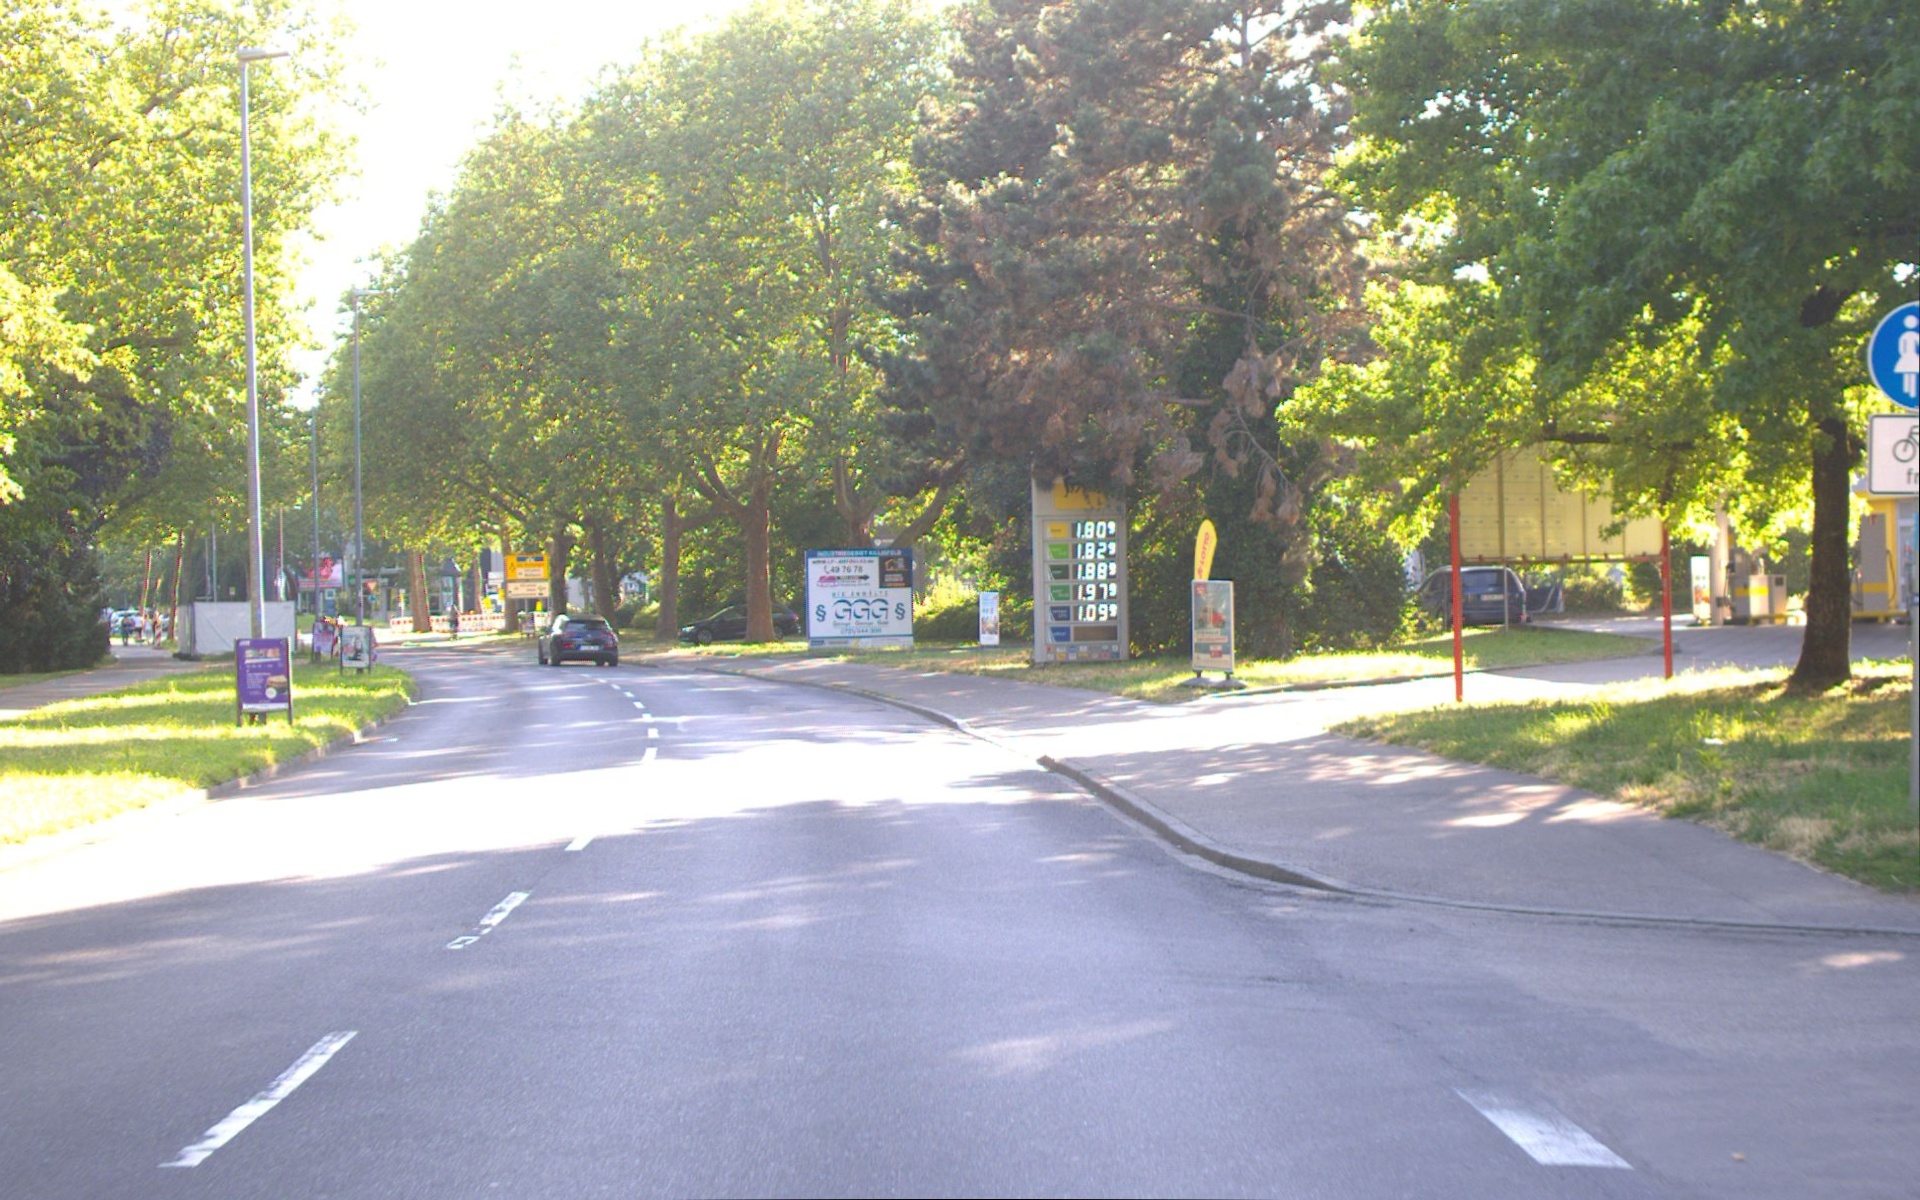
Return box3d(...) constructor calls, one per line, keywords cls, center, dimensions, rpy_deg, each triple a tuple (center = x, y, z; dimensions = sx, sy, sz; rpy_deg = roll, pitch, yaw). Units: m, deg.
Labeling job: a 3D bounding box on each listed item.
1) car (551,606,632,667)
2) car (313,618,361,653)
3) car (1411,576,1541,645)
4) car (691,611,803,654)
box3d(cls="car", center=(-10.123, 0.991, 94.617), dimensions=(1.839, 1.600, 3.863), rpy_deg=(-1, 0, -1))
box3d(cls="car", center=(-37.889, 2.158, 209.201), dimensions=(1.993, 2.007, 4.000), rpy_deg=(-1, 0, 2))
box3d(cls="car", center=(11.088, 0.218, 74.089), dimensions=(1.841, 1.415, 4.001), rpy_deg=(-1, 0, -5))
box3d(cls="car", center=(-8.063, 1.227, 129.940), dimensions=(3.986, 1.438, 1.761), rpy_deg=(-2, 0, -11))
